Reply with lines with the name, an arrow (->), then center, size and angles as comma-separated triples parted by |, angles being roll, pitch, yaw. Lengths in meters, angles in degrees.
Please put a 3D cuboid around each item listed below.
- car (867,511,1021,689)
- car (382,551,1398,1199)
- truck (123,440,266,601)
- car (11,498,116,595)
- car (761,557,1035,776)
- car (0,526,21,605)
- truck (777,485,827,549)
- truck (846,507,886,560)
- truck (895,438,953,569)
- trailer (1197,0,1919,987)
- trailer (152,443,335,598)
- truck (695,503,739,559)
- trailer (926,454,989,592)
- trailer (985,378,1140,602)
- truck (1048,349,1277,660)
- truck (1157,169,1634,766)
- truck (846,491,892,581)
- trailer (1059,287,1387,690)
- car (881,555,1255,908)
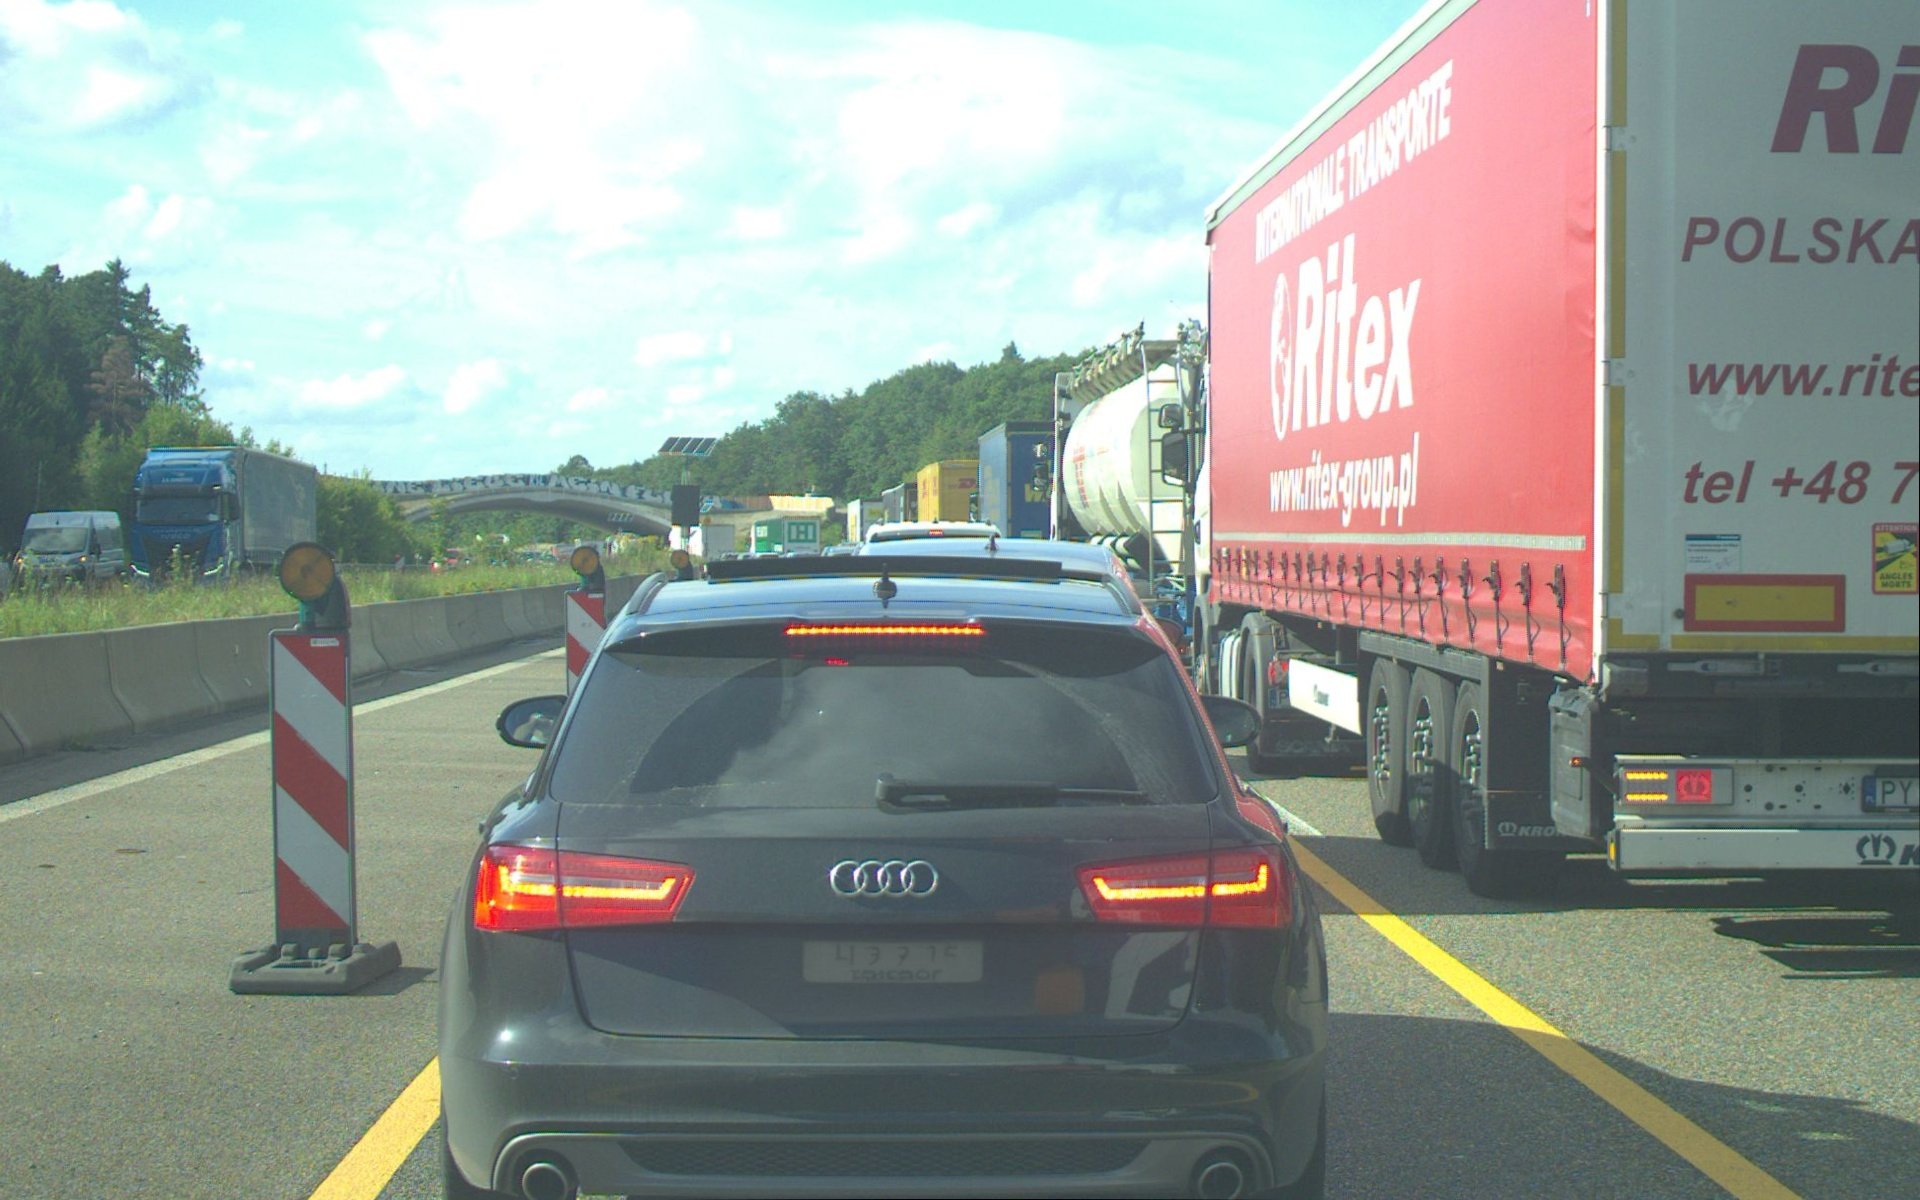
car -> -0.186, -0.017, 37.432 | 1.581, 1.830, 3.112 | 1, 0, -1
car -> -0.149, 0.629, 8.279 | 1.848, 1.458, 4.000 | 0, 0, -1
truck -> -20.440, -2.110, 92.031 | 2.637, 4.175, 5.468 | 1, 1, -1
car -> -25.372, -1.492, 97.444 | 2.250, 2.634, 5.021 | 1, 0, -8
car -> -0.423, 0.416, 24.062 | 1.751, 1.392, 3.608 | 1, 0, -1
car -> -25.456, -0.892, 87.588 | 1.993, 2.007, 4.000 | 1, 0, -1
truck -> -10.613, -5.526, 231.268 | 3.304, 4.160, 9.703 | 0, 1, -2
truck -> -6.316, -4.425, 230.284 | 2.566, 3.455, 7.399 | 1, 0, -2
truck -> -1.461, -3.724, 134.530 | 1.993, 4.897, 9.563 | 1, 1, -2
trailer -> 3.252, -0.773, 18.398 | 2.699, 3.955, 13.418 | 1, 1, -1
trailer -> -20.507, -2.251, 99.199 | 2.619, 4.127, 13.373 | 1, 1, -1
truck -> -18.779, -5.318, 265.066 | 3.303, 4.160, 9.704 | 1, 1, -4
trailer -> -0.103, -2.228, 101.050 | 1.616, 3.905, 6.490 | 1, 0, -1
trailer -> 2.075, -2.230, 73.538 | 2.805, 4.398, 10.433 | 1, 0, -1
truck -> 2.685, -1.254, 47.192 | 2.659, 3.958, 5.779 | 1, 0, -1
truck -> 3.067, -0.926, 25.754 | 2.667, 3.946, 5.711 | 1, 1, -1
truck -> -4.374, -3.068, 166.147 | 2.137, 4.243, 7.072 | 1, 0, -1
trailer -> 2.773, -1.185, 40.157 | 2.644, 3.929, 12.598 | 1, 1, -1
car -> 0.427, 0.531, 15.836 | 1.524, 1.434, 3.285 | 1, 0, -1
